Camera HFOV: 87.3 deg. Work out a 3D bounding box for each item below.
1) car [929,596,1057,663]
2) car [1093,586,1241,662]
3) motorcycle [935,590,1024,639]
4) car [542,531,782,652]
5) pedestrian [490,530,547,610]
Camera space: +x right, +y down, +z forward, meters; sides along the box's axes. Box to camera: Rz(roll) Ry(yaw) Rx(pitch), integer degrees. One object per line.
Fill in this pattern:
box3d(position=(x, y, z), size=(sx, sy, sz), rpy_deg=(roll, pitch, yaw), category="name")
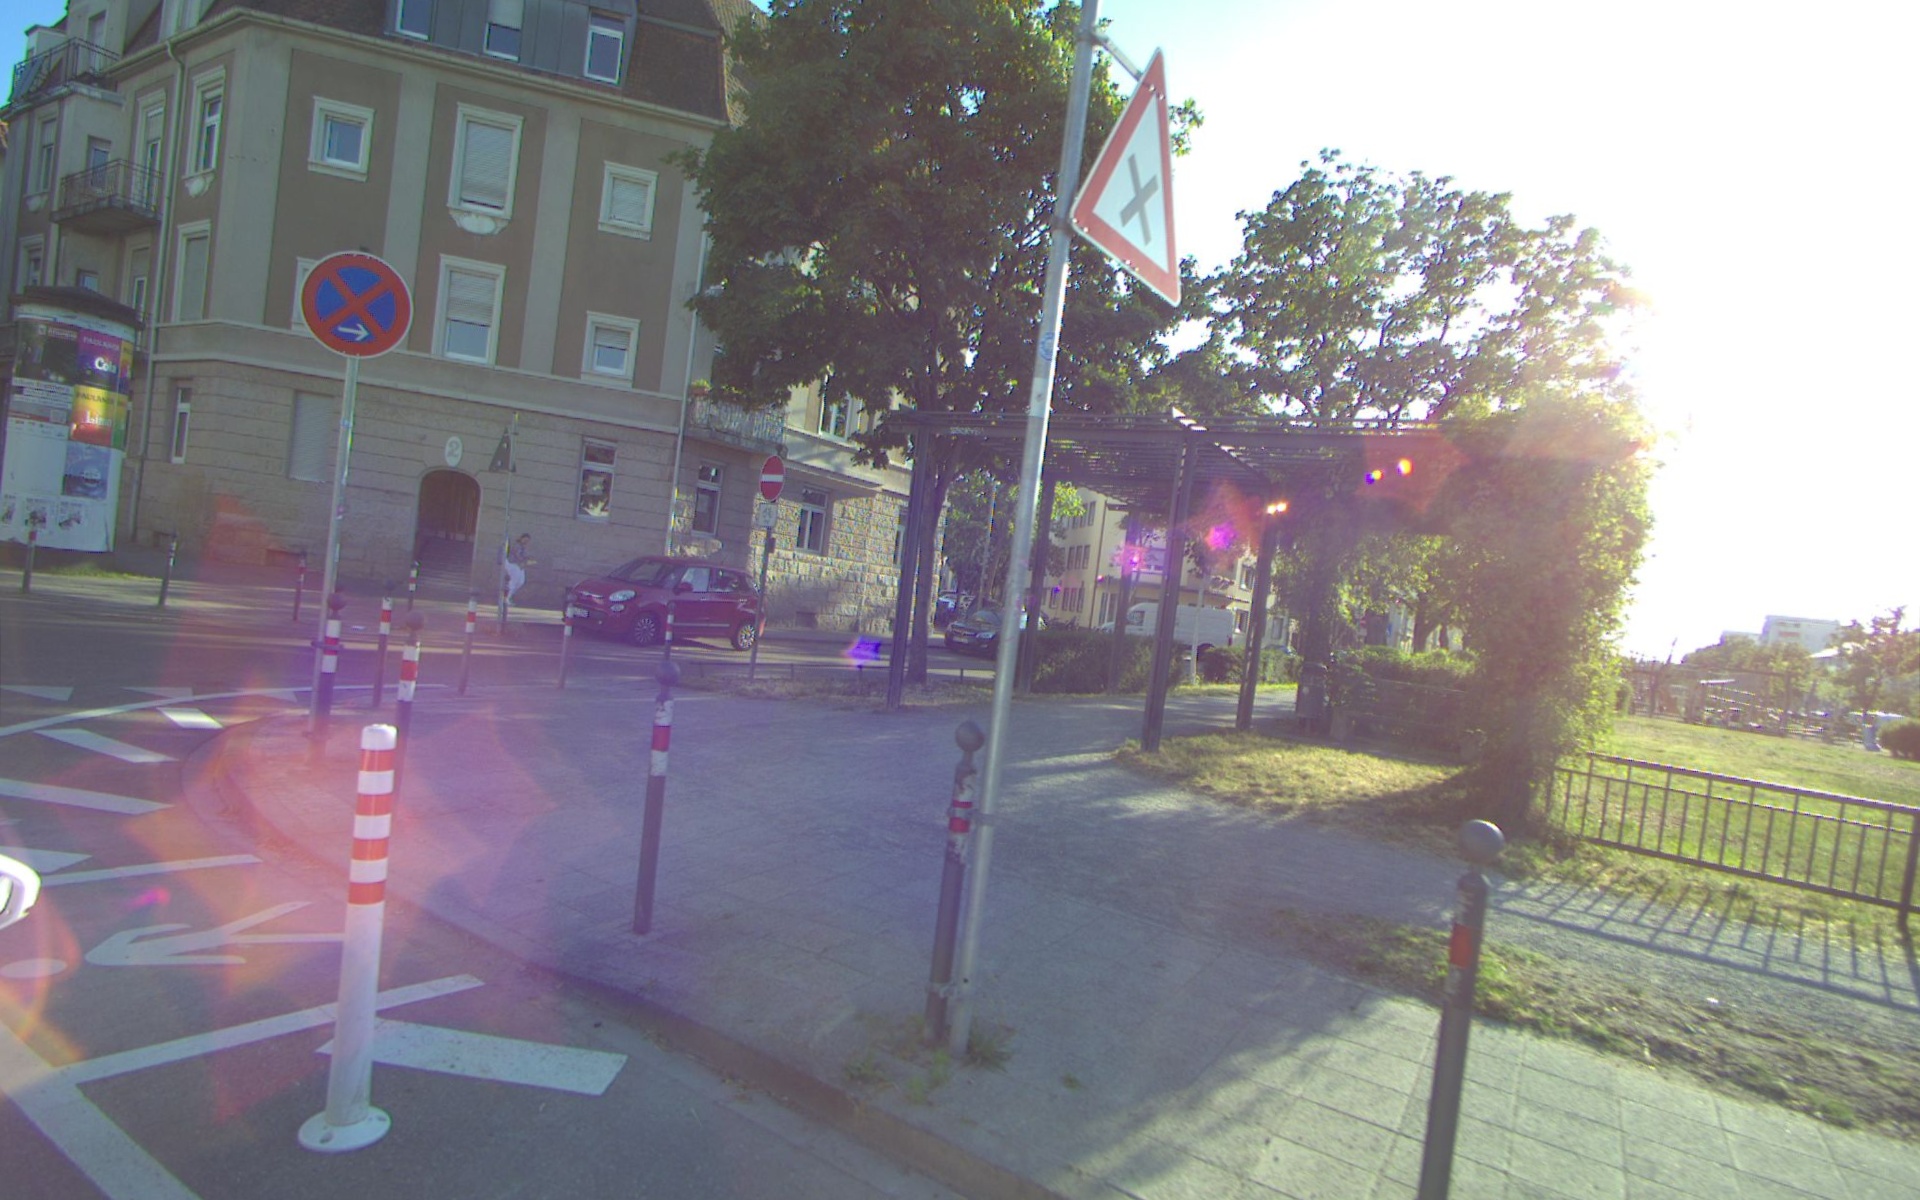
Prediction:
box3d(position=(1.053, 0.921, 29.959), size=(1.782, 1.552, 4.077), rpy_deg=(9, 1, 34), category="car")
box3d(position=(10.055, 1.170, 49.416), size=(6.564, 2.779, 2.318), rpy_deg=(8, 1, 4), category="car")
box3d(position=(0.743, 0.547, 38.853), size=(3.171, 1.505, 0.853), rpy_deg=(7, 0, 21), category="motorcycle")
box3d(position=(-5.612, -0.093, 19.421), size=(1.782, 1.763, 4.077), rpy_deg=(10, 2, 34), category="car")
box3d(position=(-9.480, -0.638, 21.586), size=(0.815, 1.565, 0.734), rpy_deg=(6, 3, -39), category="pedestrian")
